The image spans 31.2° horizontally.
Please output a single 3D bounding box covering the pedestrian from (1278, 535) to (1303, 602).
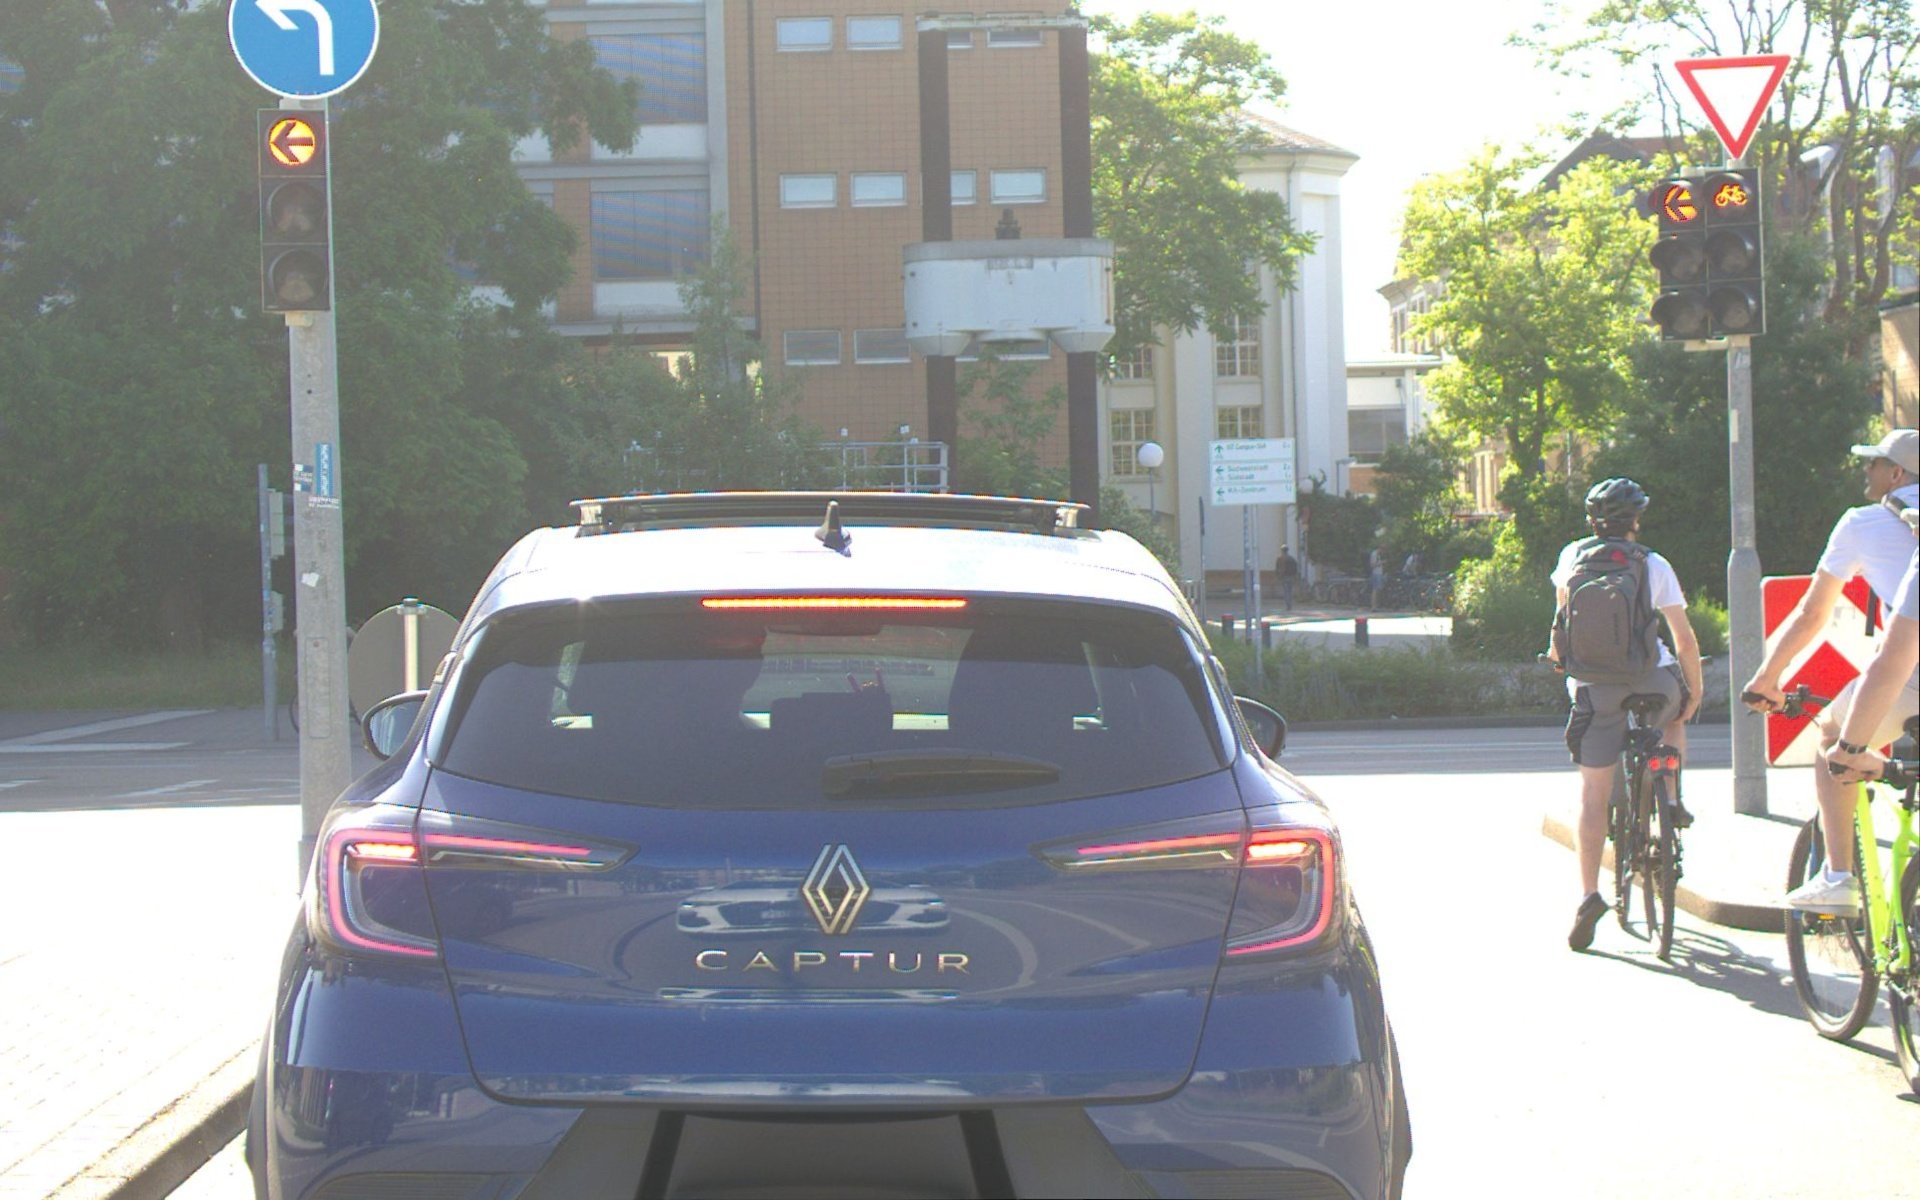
[{"bbox_3d":[9.244,-0.884,96.215,0.623,1.849,0.563,-1,1,2],"label":"pedestrian"}]

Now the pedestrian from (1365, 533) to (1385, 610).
[{"bbox_3d":[10.989,-0.759,91.052,0.475,2.007,0.523,-1,1,6],"label":"pedestrian"}]

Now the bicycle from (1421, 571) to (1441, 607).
[{"bbox_3d":[12.925,-0.305,94.425,0.405,0.969,1.683,1,1,4],"label":"bicycle"}]

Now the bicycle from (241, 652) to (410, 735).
[{"bbox_3d":[-8.074,1.184,43.779,2.005,0.961,0.598,-2,1,-27],"label":"bicycle"}]

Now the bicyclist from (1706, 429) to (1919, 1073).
[{"bbox_3d":[2.629,0.405,9.819,0.645,1.733,1.067,1,0,-6],"label":"bicyclist"}]

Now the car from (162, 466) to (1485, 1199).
[{"bbox_3d":[-0.262,0.612,6.705,1.803,1.626,4.000,0,1,-2],"label":"car"}]

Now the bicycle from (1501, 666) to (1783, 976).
[{"bbox_3d":[2.517,0.779,12.910,0.739,0.992,2.173,1,1,3],"label":"bicycle"}]

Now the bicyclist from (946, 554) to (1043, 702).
[{"bbox_3d":[0.446,0.356,43.918,1.102,1.861,0.652,-1,1,10],"label":"bicyclist"}]

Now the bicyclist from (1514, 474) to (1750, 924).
[{"bbox_3d":[2.514,0.353,12.955,0.726,1.623,0.969,1,0,4],"label":"bicyclist"}]

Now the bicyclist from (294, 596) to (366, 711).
[{"bbox_3d":[-8.027,0.670,43.796,0.737,1.436,0.598,-2,1,-27],"label":"bicyclist"}]

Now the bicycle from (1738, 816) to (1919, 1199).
[{"bbox_3d":[2.233,0.980,7.266,0.740,0.893,1.978,1,1,1],"label":"bicycle"}]

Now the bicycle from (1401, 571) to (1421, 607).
[{"bbox_3d":[12.389,-0.313,94.411,0.405,0.969,1.683,1,1,4],"label":"bicycle"}]

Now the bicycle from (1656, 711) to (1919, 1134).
[{"bbox_3d":[2.618,0.864,9.830,0.659,0.999,1.970,1,1,-6],"label":"bicycle"}]

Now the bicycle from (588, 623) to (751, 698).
[{"bbox_3d":[-3.890,0.812,46.081,2.077,0.961,0.598,-1,1,13],"label":"bicycle"}]

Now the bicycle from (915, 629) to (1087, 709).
[{"bbox_3d":[0.528,0.880,43.918,2.082,0.927,0.696,-2,2,11],"label":"bicycle"}]

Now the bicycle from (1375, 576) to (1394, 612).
[{"bbox_3d":[11.621,-0.176,94.046,0.405,0.969,1.683,1,1,4],"label":"bicycle"}]

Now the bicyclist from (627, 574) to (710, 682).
[{"bbox_3d":[-3.901,0.371,46.077,0.937,1.424,0.598,-1,1,13],"label":"bicyclist"}]

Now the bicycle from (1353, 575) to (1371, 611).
[{"bbox_3d":[10.999,-0.185,94.089,0.405,0.969,1.683,1,1,4],"label":"bicycle"}]

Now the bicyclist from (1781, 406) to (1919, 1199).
[{"bbox_3d":[2.237,0.452,7.254,0.751,1.663,1.016,1,0,1],"label":"bicyclist"}]

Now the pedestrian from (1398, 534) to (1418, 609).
[{"bbox_3d":[12.046,-0.758,92.403,0.475,2.007,0.468,-1,1,6],"label":"pedestrian"}]

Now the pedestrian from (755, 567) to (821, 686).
[{"bbox_3d":[-2.345,0.362,46.998,0.737,1.598,0.598,-1,1,12],"label":"pedestrian"}]
